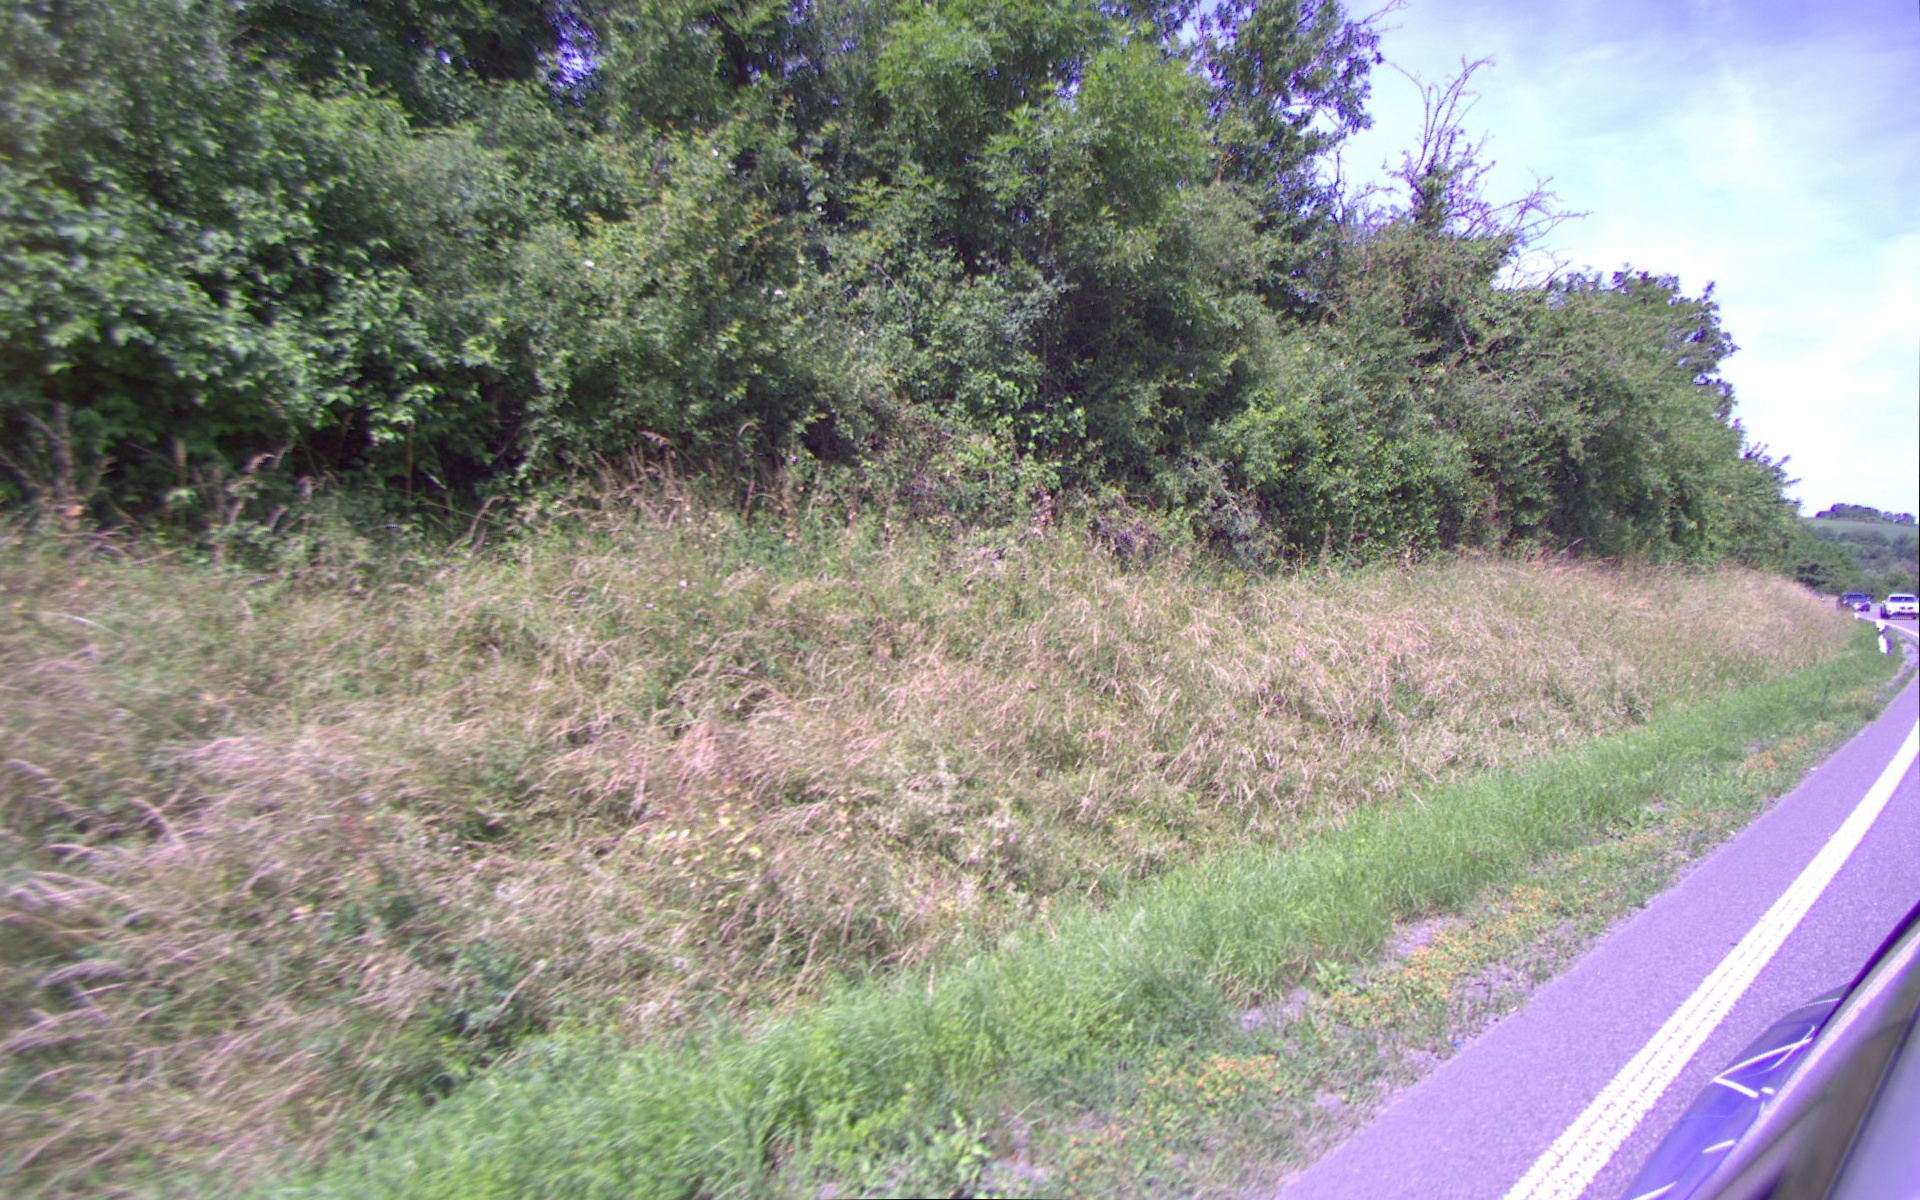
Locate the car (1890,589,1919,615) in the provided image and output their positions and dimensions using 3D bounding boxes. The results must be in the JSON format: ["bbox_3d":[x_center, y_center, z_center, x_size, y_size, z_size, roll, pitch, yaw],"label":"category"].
[{"bbox_3d":[57.732,0.091,61.189,1.858,1.507,3.945,0,1,38],"label":"car"}]

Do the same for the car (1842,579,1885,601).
[{"bbox_3d":[73.037,-0.808,81.874,1.814,1.537,3.954,6,5,32],"label":"car"}]

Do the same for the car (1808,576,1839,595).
[{"bbox_3d":[85.959,-1.422,100.808,1.656,1.669,3.954,6,5,32],"label":"car"}]
